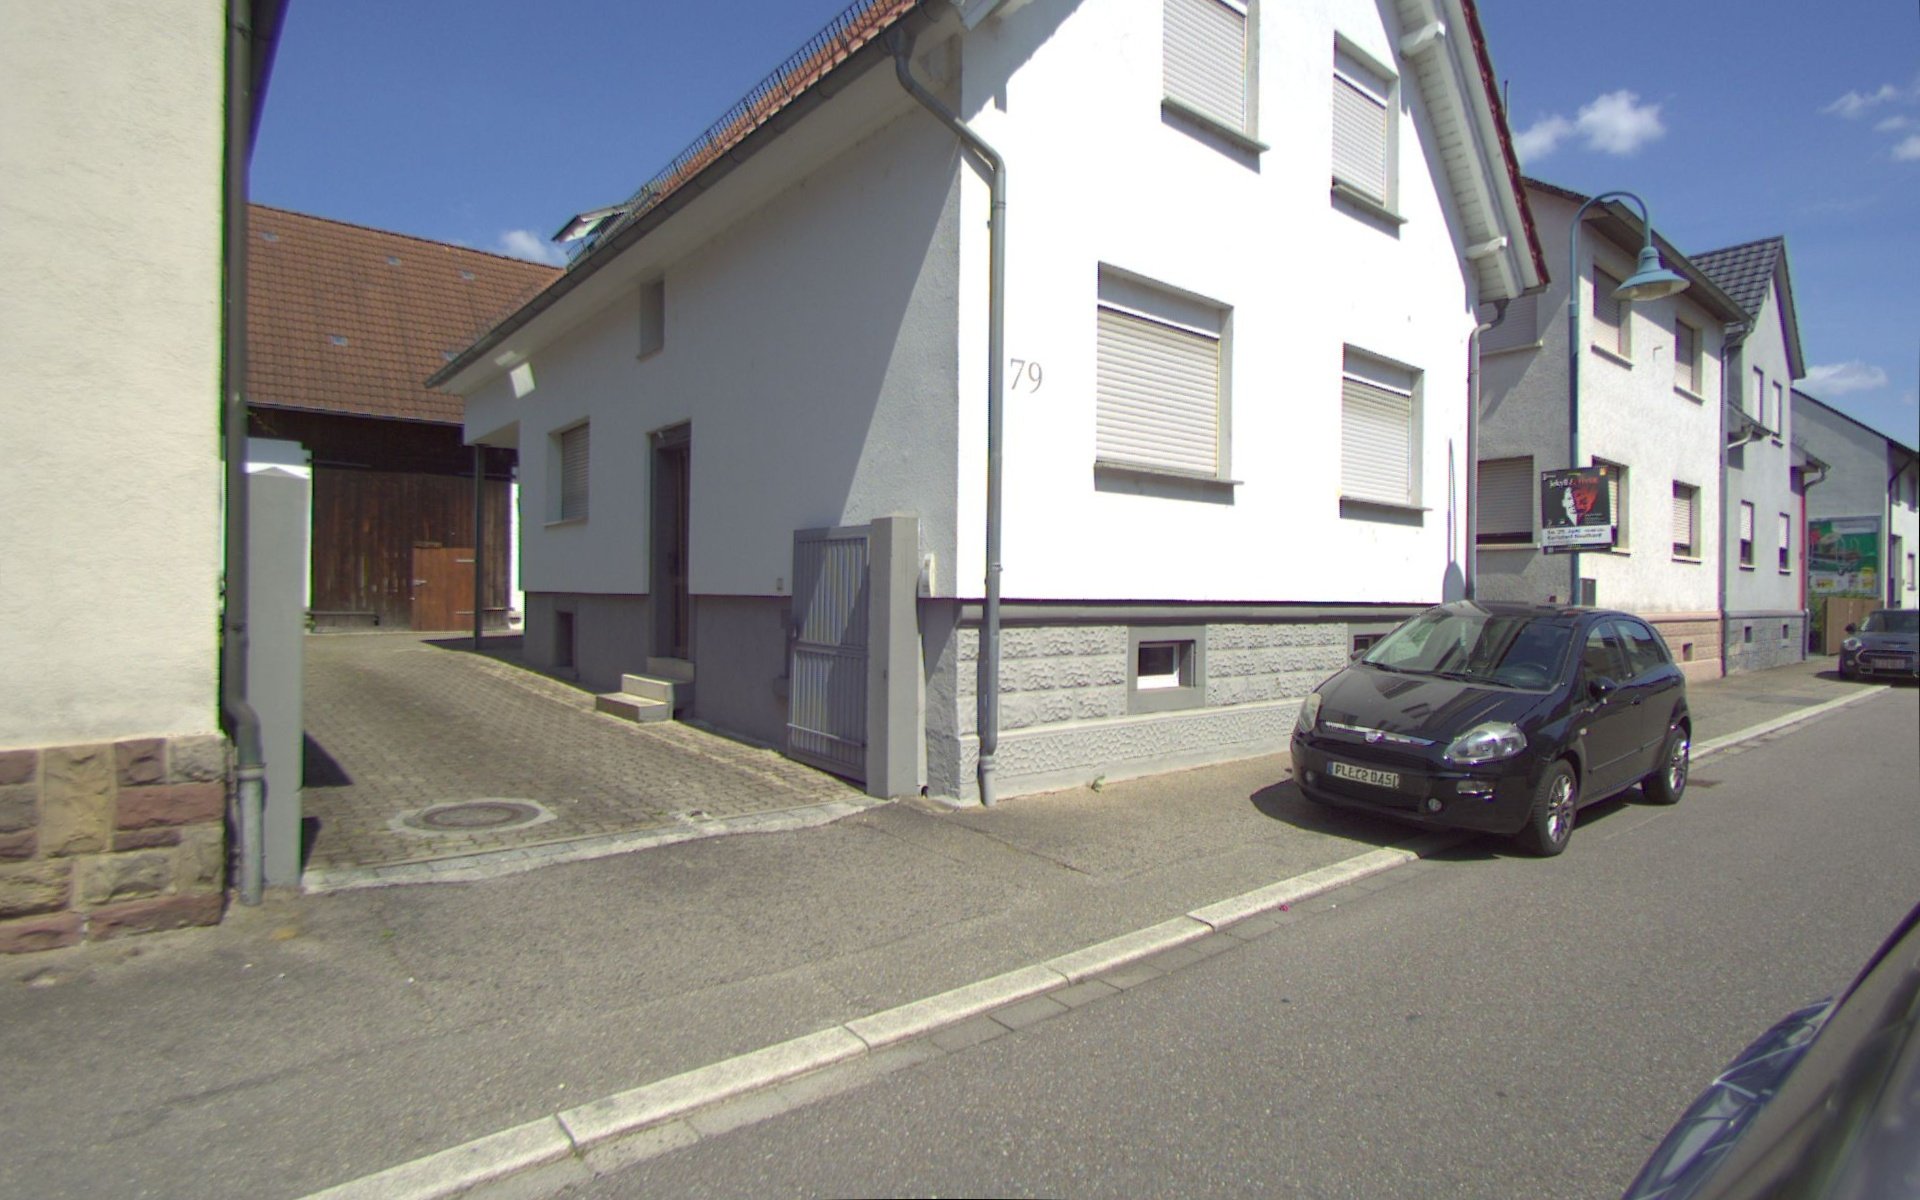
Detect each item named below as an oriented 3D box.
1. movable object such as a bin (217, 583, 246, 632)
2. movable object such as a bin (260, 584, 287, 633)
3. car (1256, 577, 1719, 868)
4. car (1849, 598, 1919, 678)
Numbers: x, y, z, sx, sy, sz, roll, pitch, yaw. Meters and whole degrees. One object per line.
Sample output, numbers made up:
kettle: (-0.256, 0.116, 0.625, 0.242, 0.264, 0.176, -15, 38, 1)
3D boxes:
movable object such as a bin: (-15.166, 0.150, 21.073, 0.466, 1.015, 0.559, 0, 0, -35)
movable object such as a bin: (-14.541, 0.165, 21.424, 0.466, 1.015, 0.662, 0, 0, -35)
car: (3.986, 0.652, 7.363, 3.902, 1.514, 1.620, 0, 3, -41)
car: (18.831, 0.695, 19.793, 3.592, 1.440, 1.691, 0, 1, -41)
